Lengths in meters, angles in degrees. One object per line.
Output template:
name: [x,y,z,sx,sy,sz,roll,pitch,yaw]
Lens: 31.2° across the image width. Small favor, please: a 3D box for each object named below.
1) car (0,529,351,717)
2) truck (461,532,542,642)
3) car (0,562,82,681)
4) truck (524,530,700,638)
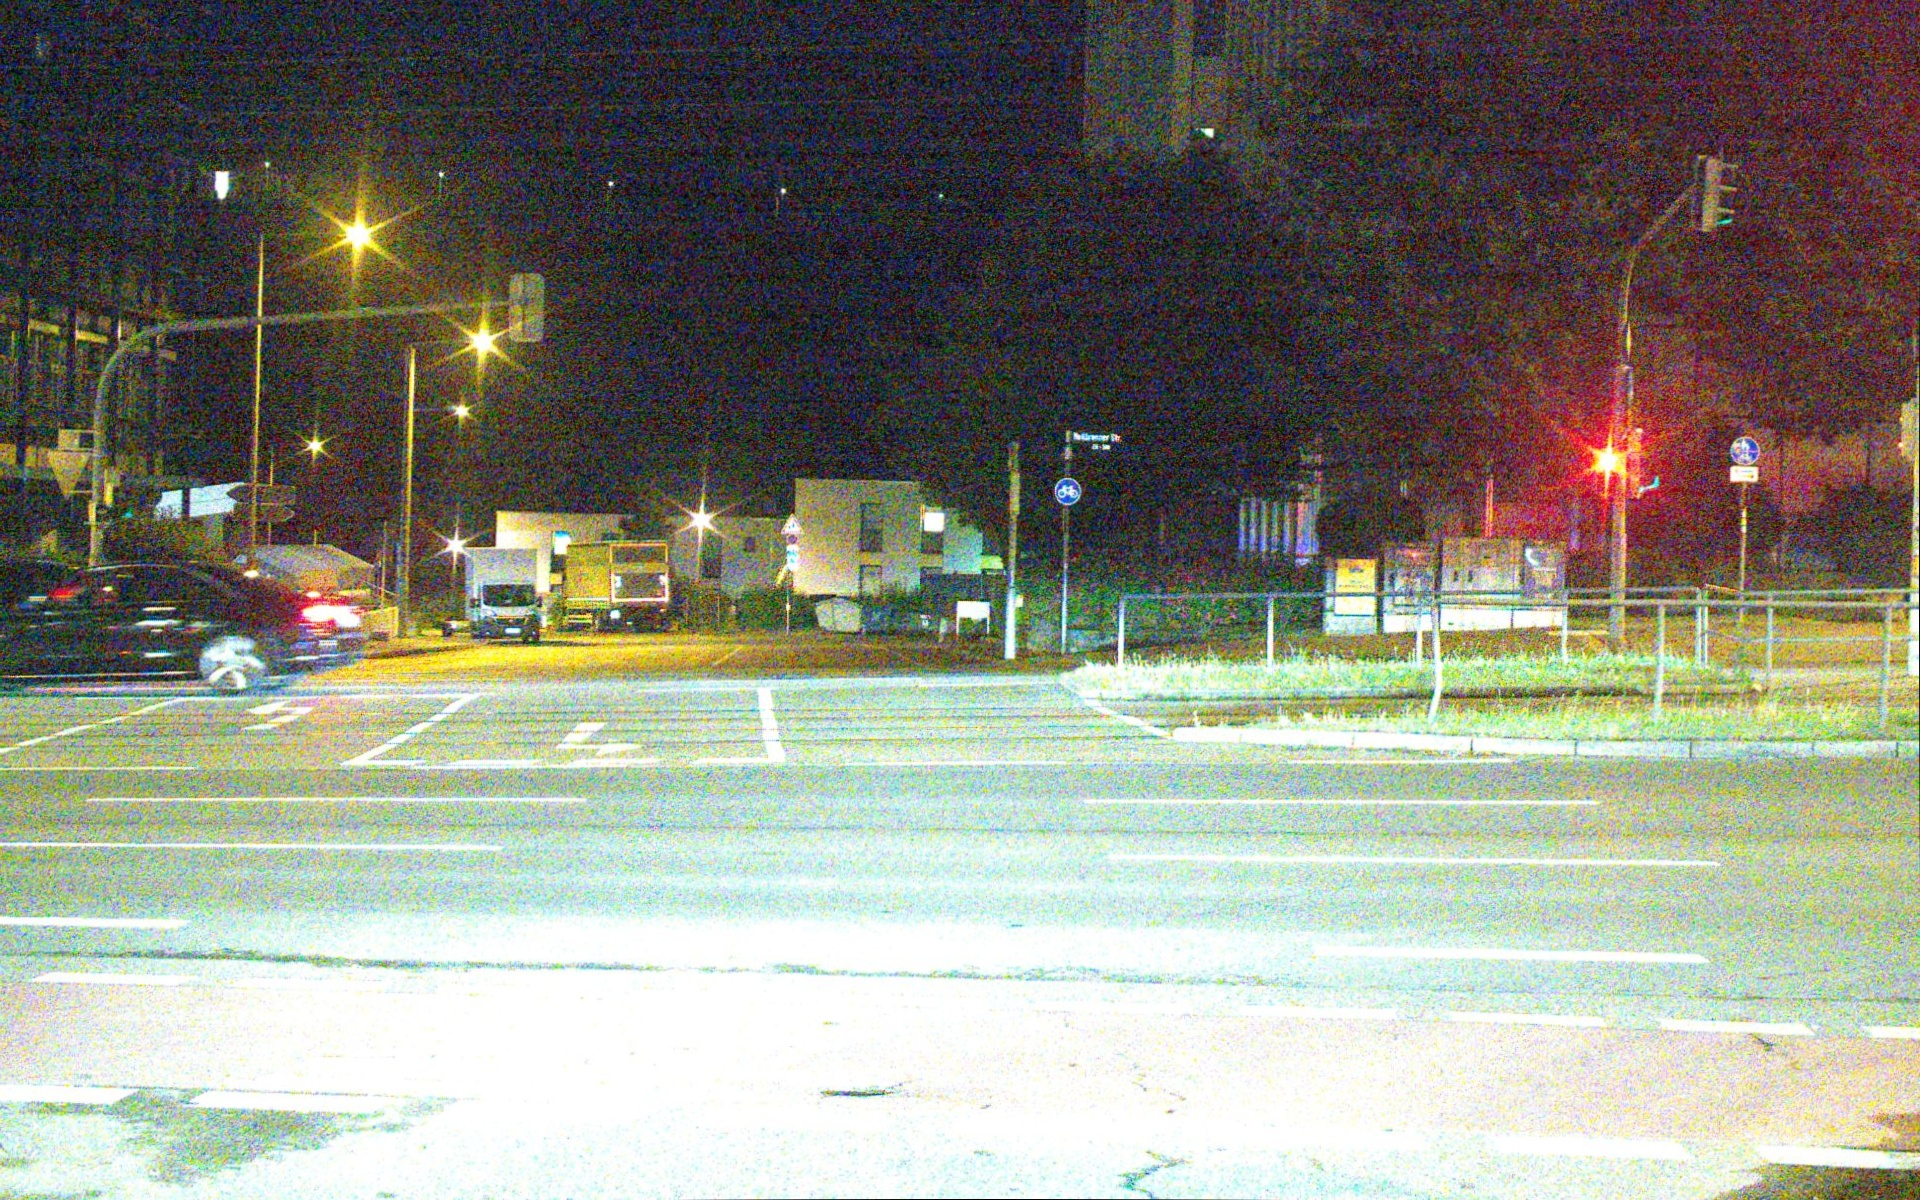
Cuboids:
car: [-9.012,0.232,37.842,4.183,1.968,2.000,1,0,3]
truck: [-15.933,-0.469,119.277,2.582,3.694,5.739,1,1,-9]
car: [-12.747,0.224,41.107,3.987,1.382,1.866,1,0,0]
truck: [-15.446,-0.760,151.236,4.821,4.531,12.669,1,1,-19]
